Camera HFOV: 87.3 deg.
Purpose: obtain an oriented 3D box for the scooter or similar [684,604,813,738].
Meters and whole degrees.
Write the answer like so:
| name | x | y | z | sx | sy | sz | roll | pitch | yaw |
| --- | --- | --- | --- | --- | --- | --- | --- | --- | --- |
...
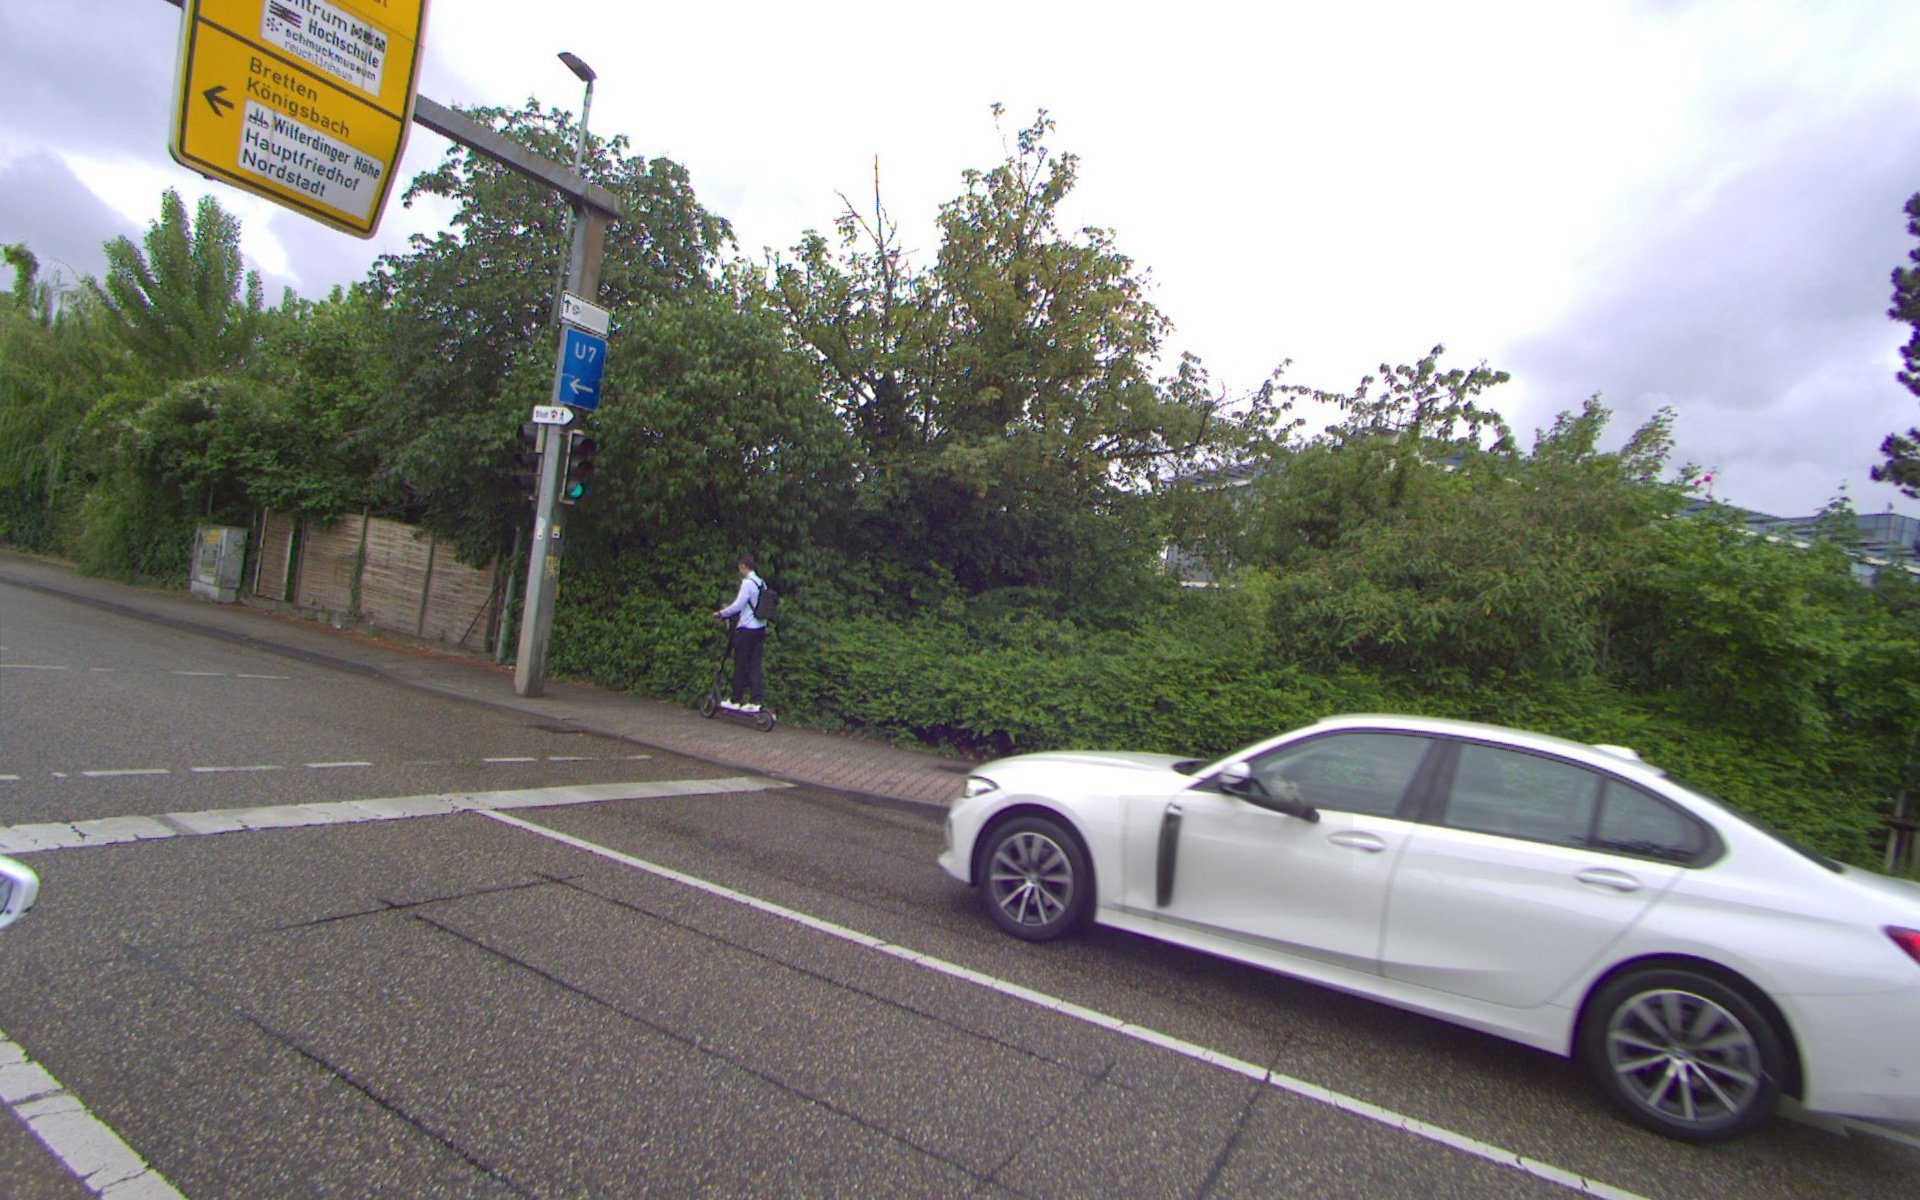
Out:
| name | x | y | z | sx | sy | sz | roll | pitch | yaw |
| --- | --- | --- | --- | --- | --- | --- | --- | --- | --- |
| scooter or similar | -2.499 | 0.814 | 11.830 | 1.361 | 1.377 | 0.462 | 7 | 0 | 28 |

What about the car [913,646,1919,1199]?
| name | x | y | z | sx | sy | sz | roll | pitch | yaw |
| --- | --- | --- | --- | --- | --- | --- | --- | --- | --- |
| car | 2.065 | 1.279 | 5.197 | 4.231 | 1.443 | 1.669 | 7 | -2 | 29 |

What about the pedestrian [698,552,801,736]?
| name | x | y | z | sx | sy | sz | roll | pitch | yaw |
| --- | --- | --- | --- | --- | --- | --- | --- | --- | --- |
| pedestrian | -2.459 | 0.512 | 11.771 | 0.706 | 2.026 | 0.656 | 7 | 0 | 30 |
